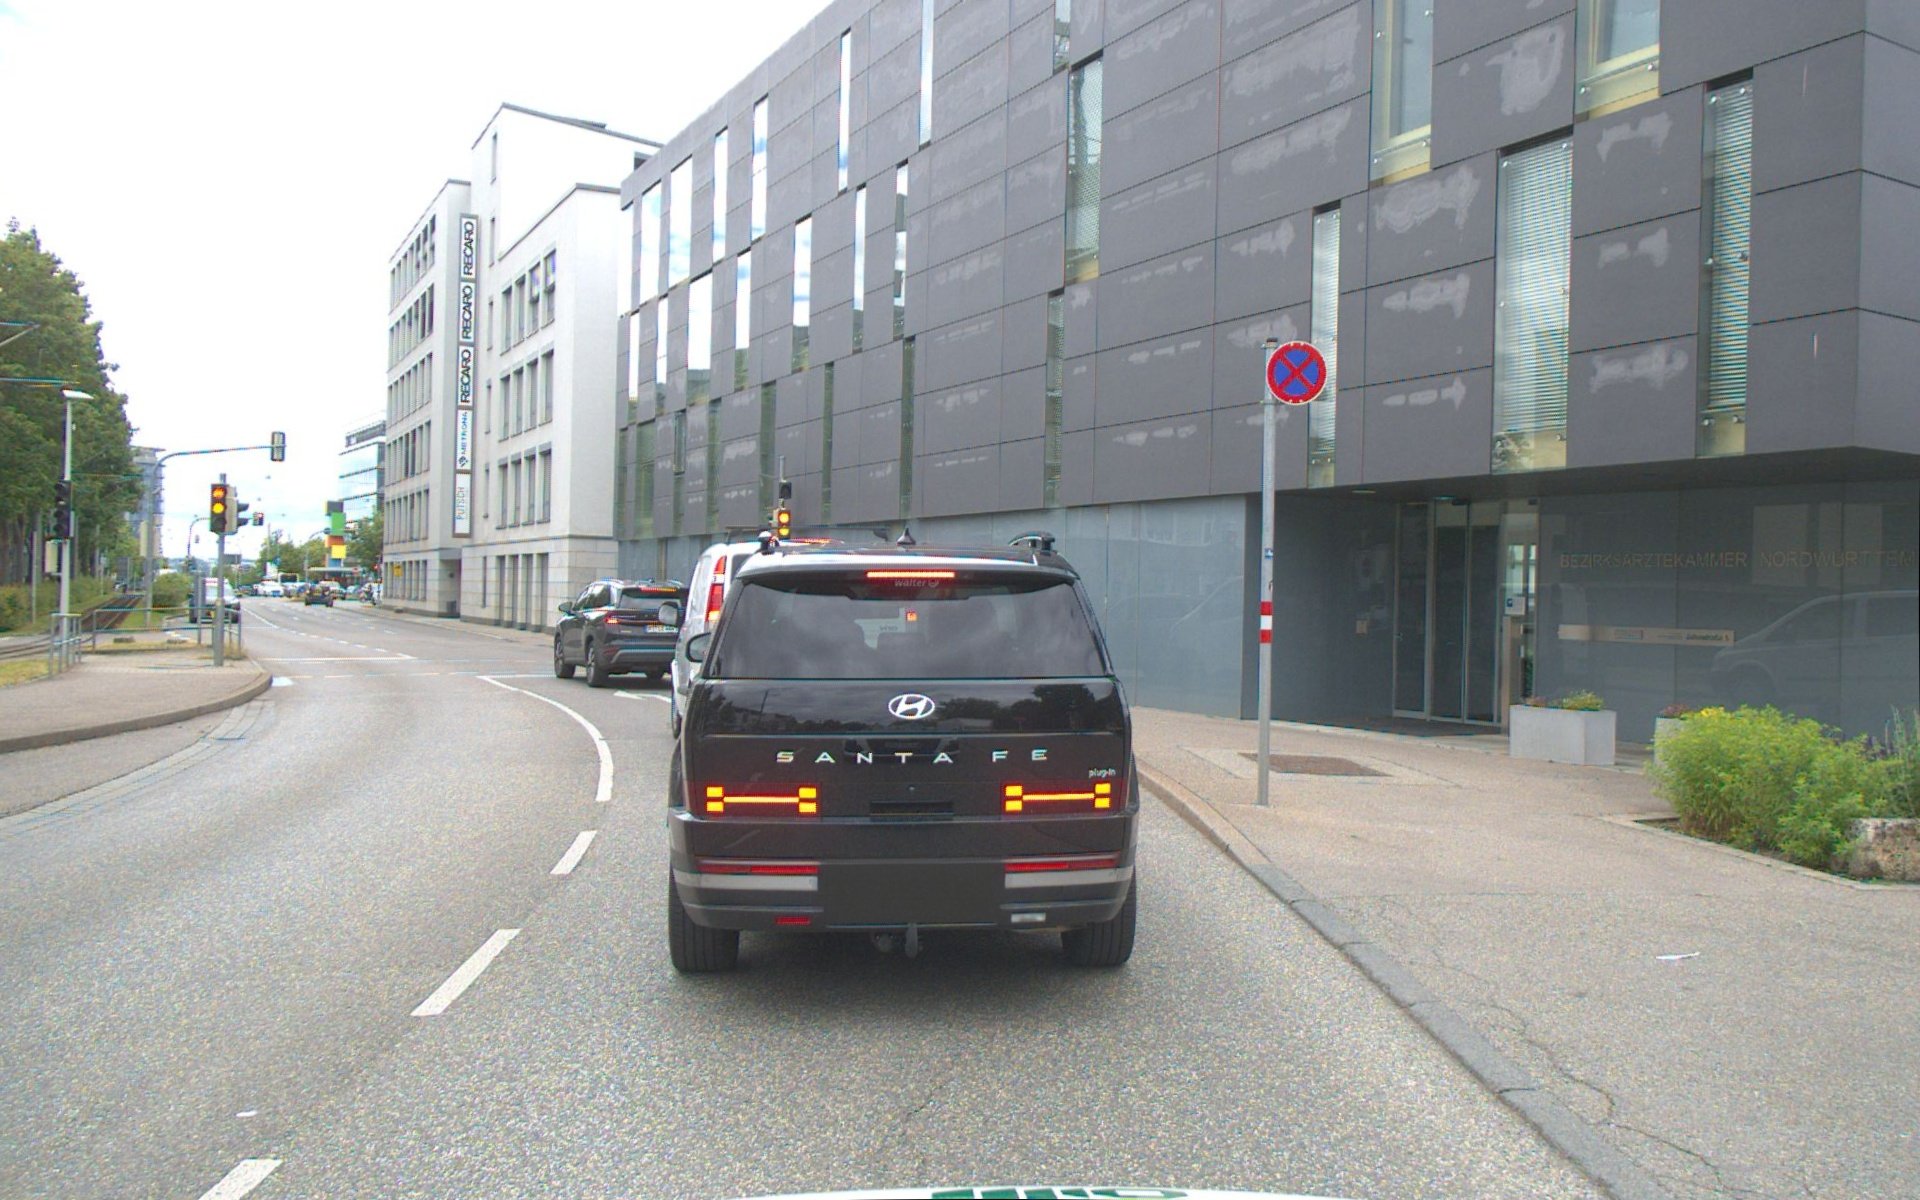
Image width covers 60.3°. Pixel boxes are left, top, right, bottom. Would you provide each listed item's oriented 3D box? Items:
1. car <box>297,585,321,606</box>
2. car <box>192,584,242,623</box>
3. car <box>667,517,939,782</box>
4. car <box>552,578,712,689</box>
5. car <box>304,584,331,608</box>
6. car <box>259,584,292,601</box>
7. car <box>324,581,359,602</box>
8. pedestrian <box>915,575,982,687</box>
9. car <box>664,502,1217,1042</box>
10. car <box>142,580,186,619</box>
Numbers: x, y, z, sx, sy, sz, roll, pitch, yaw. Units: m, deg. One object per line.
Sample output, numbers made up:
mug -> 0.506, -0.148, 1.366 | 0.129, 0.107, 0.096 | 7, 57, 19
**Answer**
car -> -53.309, -0.356, 135.371 | 1.735, 1.637, 4.159 | 1, 0, -23
car -> -29.713, 0.129, 66.205 | 1.744, 1.504, 3.971 | -1, 0, -23
car -> -1.597, 0.386, 15.110 | 1.898, 2.029, 4.520 | 1, 0, -13
car -> -5.386, 0.496, 26.793 | 1.735, 1.637, 4.159 | 1, 0, -23
car -> -46.209, -0.293, 118.919 | 1.735, 1.637, 4.159 | 1, 0, -23
car -> -66.226, -0.731, 159.931 | 1.980, 1.606, 3.946 | 1, 0, -38
car -> -57.258, -0.799, 153.147 | 1.979, 1.885, 3.946 | 1, 0, -38
pedestrian -> -0.189, 0.477, 26.063 | 0.703, 1.724, 0.858 | 2, -1, -28
car -> -0.301, 0.561, 7.751 | 1.872, 1.780, 4.390 | 0, 0, -7
car -> -38.423, -0.039, 79.926 | 1.658, 1.840, 4.321 | -1, 0, -23
